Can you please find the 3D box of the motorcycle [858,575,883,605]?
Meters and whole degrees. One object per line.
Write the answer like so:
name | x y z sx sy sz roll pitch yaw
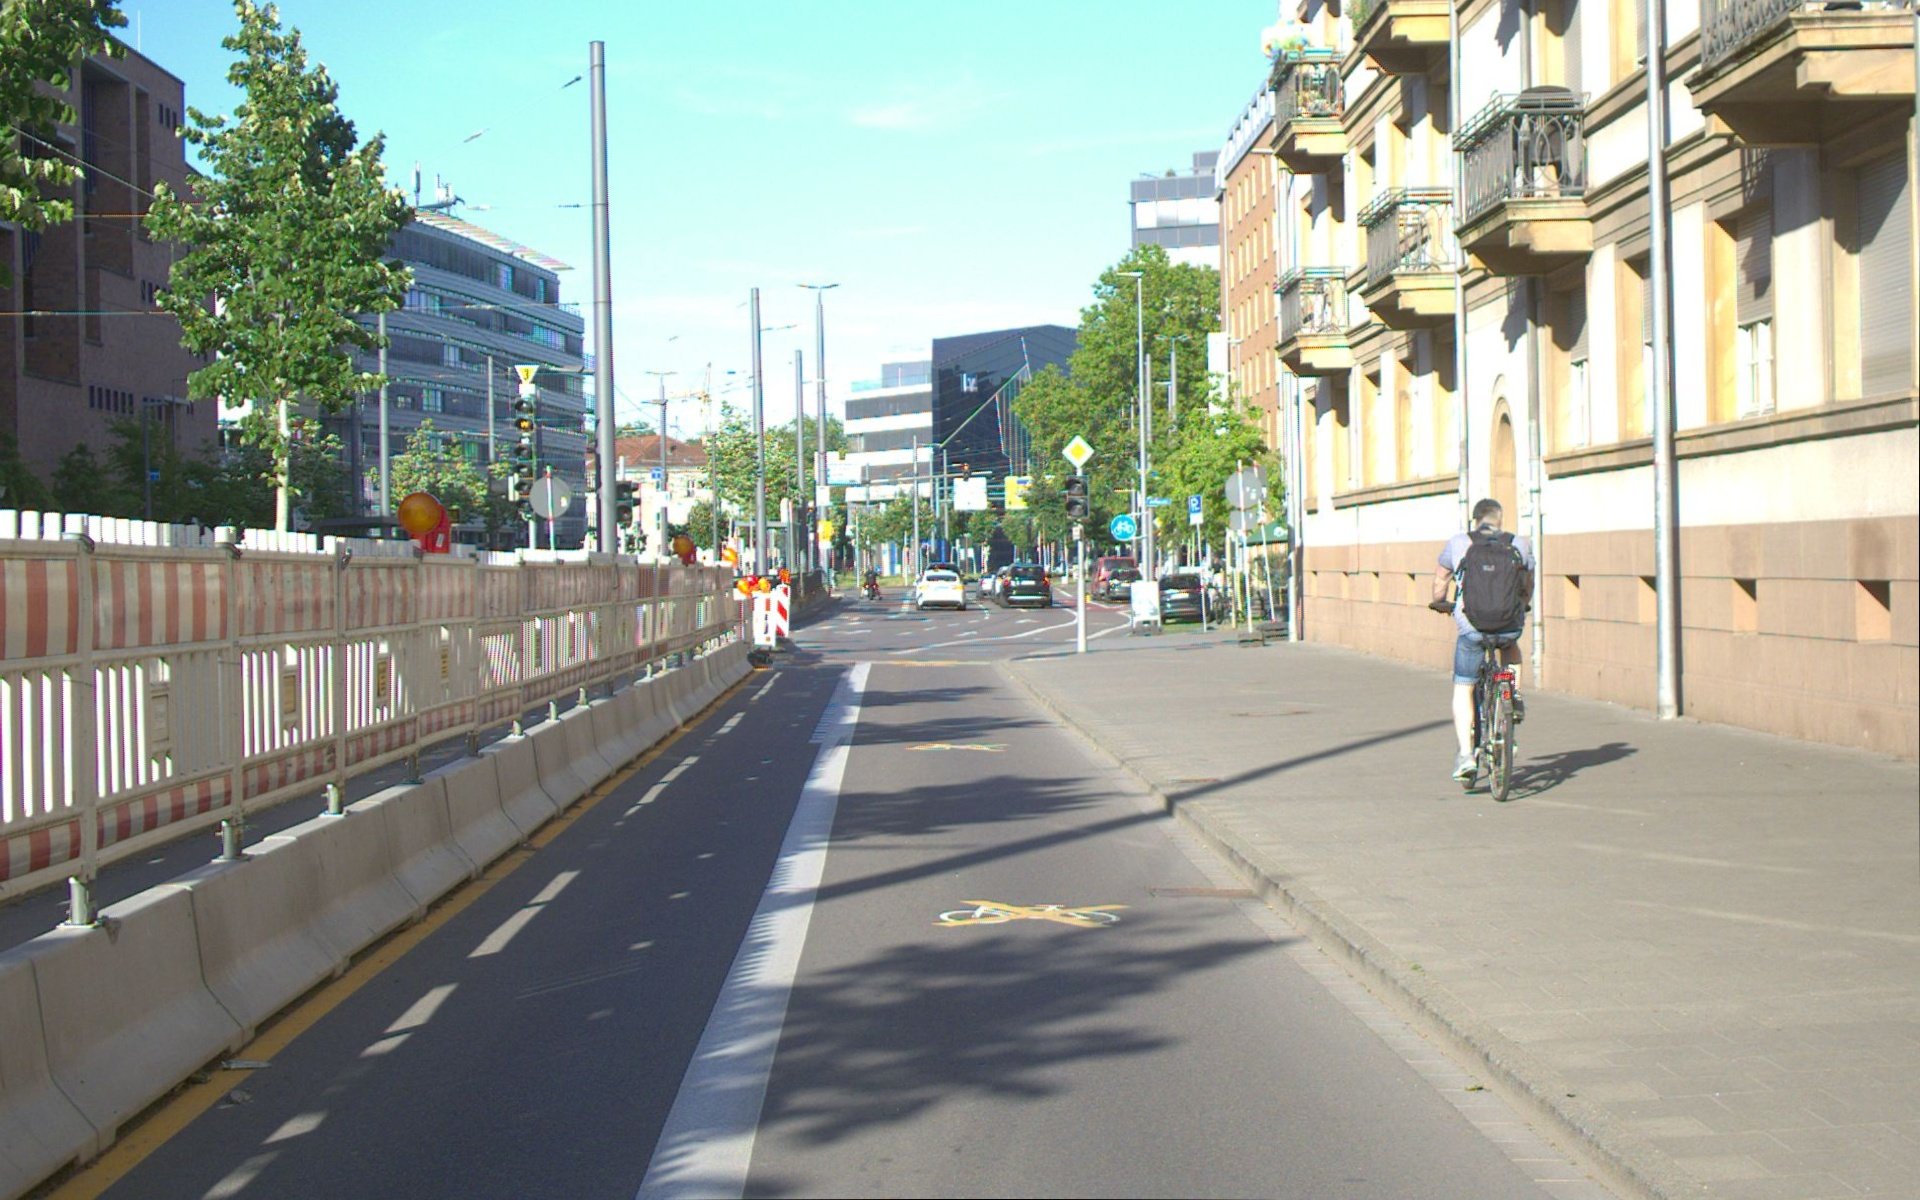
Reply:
motorcycle | -4.038 -0.474 155.273 1.019 1.307 2.914 1 1 0

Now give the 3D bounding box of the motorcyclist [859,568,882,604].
motorcyclist | -4.041 -0.649 155.351 1.019 1.598 1.148 1 0 0

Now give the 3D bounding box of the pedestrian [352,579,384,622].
pedestrian | -16.494 0.018 95.739 0.721 1.164 0.721 -3 0 0

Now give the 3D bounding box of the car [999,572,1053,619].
car | 2.578 -0.202 135.374 1.975 1.753 4.632 1 1 0

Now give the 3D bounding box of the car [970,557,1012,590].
car | 1.432 -1.248 159.798 1.851 1.492 4.379 -1 1 -1

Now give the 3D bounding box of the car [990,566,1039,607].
car | 2.249 -0.557 143.018 1.851 1.634 4.379 1 0 -1

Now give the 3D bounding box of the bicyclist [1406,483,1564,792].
bicyclist | 3.061 0.211 20.102 0.733 1.757 0.938 -1 0 -1

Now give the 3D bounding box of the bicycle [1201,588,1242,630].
bicycle | 7.322 0.261 96.244 0.765 1.077 1.998 -6 0 -4

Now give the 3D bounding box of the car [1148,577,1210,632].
car | 6.778 0.120 106.174 1.721 1.631 4.230 -1 0 6

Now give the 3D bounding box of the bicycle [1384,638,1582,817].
bicycle | 3.054 0.723 20.278 0.767 0.950 2.198 -1 0 -1

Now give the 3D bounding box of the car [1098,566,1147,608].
car | 6.943 -0.566 147.090 1.846 1.555 4.633 1 3 0

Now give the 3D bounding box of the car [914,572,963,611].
car | -0.841 -0.338 129.562 1.780 1.409 4.819 1 1 -1
